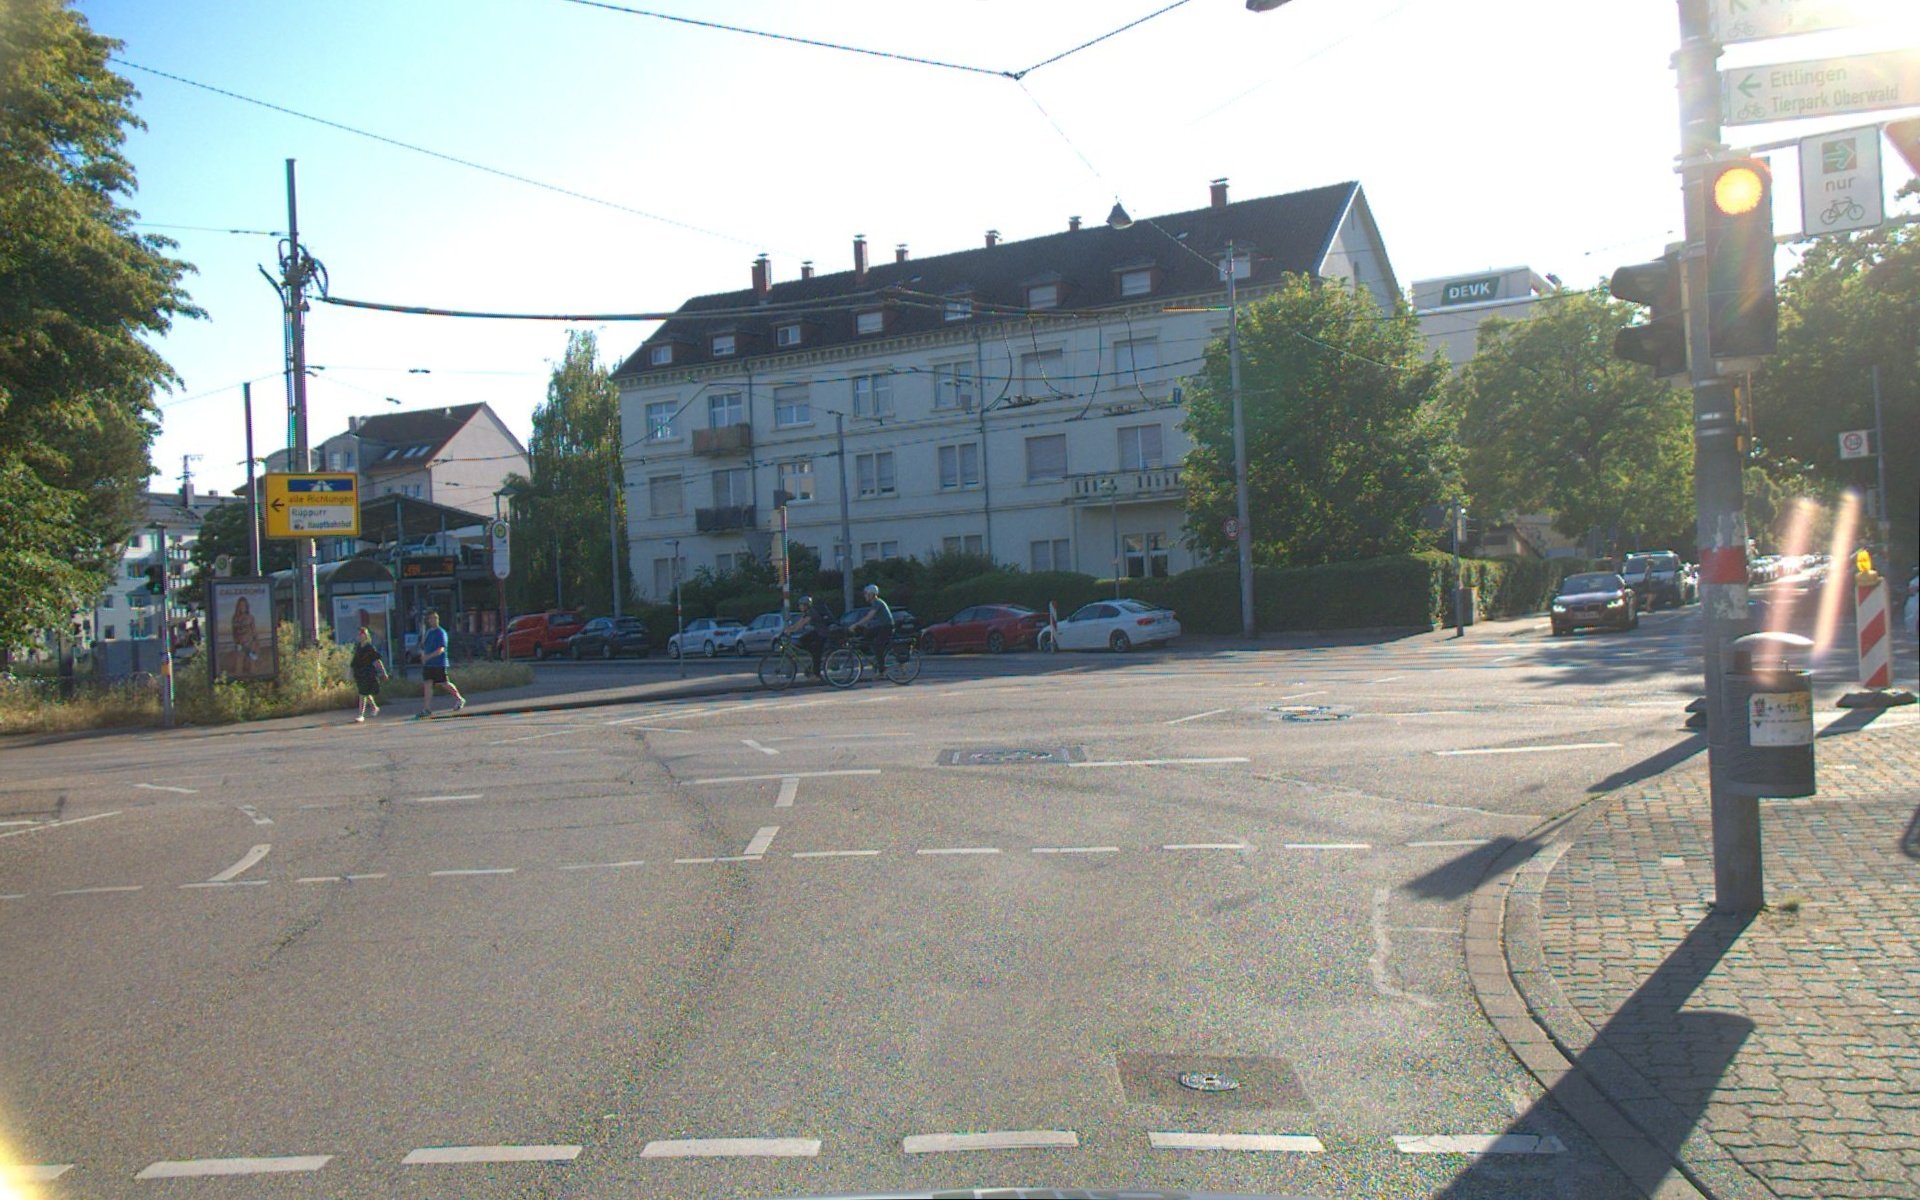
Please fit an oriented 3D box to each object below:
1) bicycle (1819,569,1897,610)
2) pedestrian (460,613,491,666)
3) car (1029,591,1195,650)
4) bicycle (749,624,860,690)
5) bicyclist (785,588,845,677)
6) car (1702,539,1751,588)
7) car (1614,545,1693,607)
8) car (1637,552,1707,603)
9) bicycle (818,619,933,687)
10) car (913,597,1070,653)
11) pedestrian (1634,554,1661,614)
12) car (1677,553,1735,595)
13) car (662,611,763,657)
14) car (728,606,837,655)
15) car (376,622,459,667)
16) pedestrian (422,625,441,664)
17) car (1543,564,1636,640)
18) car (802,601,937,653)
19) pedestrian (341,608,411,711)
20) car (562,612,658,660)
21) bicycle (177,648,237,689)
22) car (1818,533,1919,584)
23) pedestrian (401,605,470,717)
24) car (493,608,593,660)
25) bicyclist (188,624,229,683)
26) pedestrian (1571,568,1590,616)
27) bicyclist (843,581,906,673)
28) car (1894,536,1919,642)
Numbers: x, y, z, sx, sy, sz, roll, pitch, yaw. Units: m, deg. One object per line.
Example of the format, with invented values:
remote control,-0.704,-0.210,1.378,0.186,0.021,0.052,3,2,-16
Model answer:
bicycle,22.772,-0.262,41.974,1.691,0.949,0.671,-3,0,29
pedestrian,-19.087,1.559,65.154,0.914,2.048,0.759,-3,0,-37
car,4.197,0.591,46.173,1.916,1.400,4.426,-6,2,-43
bicycle,-2.868,1.037,30.454,1.975,1.087,0.662,-3,0,-8
bicyclist,-2.675,0.594,30.490,1.014,1.558,0.659,-3,0,-8
car,43.109,-2.036,92.938,2.308,2.558,5.306,-3,0,26
car,25.346,-0.870,60.328,2.308,2.049,5.306,-3,0,26
car,28.347,-0.919,65.754,2.308,1.826,5.306,-3,0,26
bicycle,-1.523,0.936,29.573,1.974,1.087,0.663,-3,0,-6
car,0.912,0.768,50.116,4.625,1.400,1.974,-3,2,44
pedestrian,21.943,-0.509,52.783,0.648,1.871,0.682,-3,0,28
car,35.640,-1.251,78.965,2.308,1.826,5.306,-3,0,26
car,-9.176,1.272,61.205,1.830,1.472,3.899,-6,2,-41
car,-6.213,1.084,57.759,1.971,1.472,3.663,-6,2,-41
car,-27.193,2.229,82.778,2.039,1.995,5.073,-6,2,-41
pedestrian,-21.112,1.788,66.036,0.560,1.527,0.672,-3,0,-29
car,15.360,0.028,40.228,1.855,1.591,4.392,-5,-1,23
car,-3.033,0.910,54.564,1.970,1.472,4.634,-6,2,-41
pedestrian,-10.605,1.062,30.066,0.894,1.777,1.066,-3,0,-6
car,-14.194,1.476,66.962,1.830,1.696,4.304,-6,2,-41
bicycle,-22.107,2.011,48.608,0.647,1.087,2.020,-3,0,5
car,40.814,-1.829,73.113,4.990,1.958,2.360,-3,-2,26
pedestrian,-9.557,1.089,30.168,0.894,1.958,1.066,-3,0,-6
car,-18.165,1.518,71.942,2.039,1.995,5.073,-6,2,-41
bicyclist,-22.113,1.573,48.682,0.654,1.681,0.887,-3,0,6
pedestrian,22.968,-0.306,61.204,0.567,1.761,0.608,-3,0,23
bicyclist,-1.538,0.477,29.592,1.014,1.558,0.697,-3,0,-6
car,15.145,-0.232,22.416,1.867,1.512,3.967,-3,0,-25
